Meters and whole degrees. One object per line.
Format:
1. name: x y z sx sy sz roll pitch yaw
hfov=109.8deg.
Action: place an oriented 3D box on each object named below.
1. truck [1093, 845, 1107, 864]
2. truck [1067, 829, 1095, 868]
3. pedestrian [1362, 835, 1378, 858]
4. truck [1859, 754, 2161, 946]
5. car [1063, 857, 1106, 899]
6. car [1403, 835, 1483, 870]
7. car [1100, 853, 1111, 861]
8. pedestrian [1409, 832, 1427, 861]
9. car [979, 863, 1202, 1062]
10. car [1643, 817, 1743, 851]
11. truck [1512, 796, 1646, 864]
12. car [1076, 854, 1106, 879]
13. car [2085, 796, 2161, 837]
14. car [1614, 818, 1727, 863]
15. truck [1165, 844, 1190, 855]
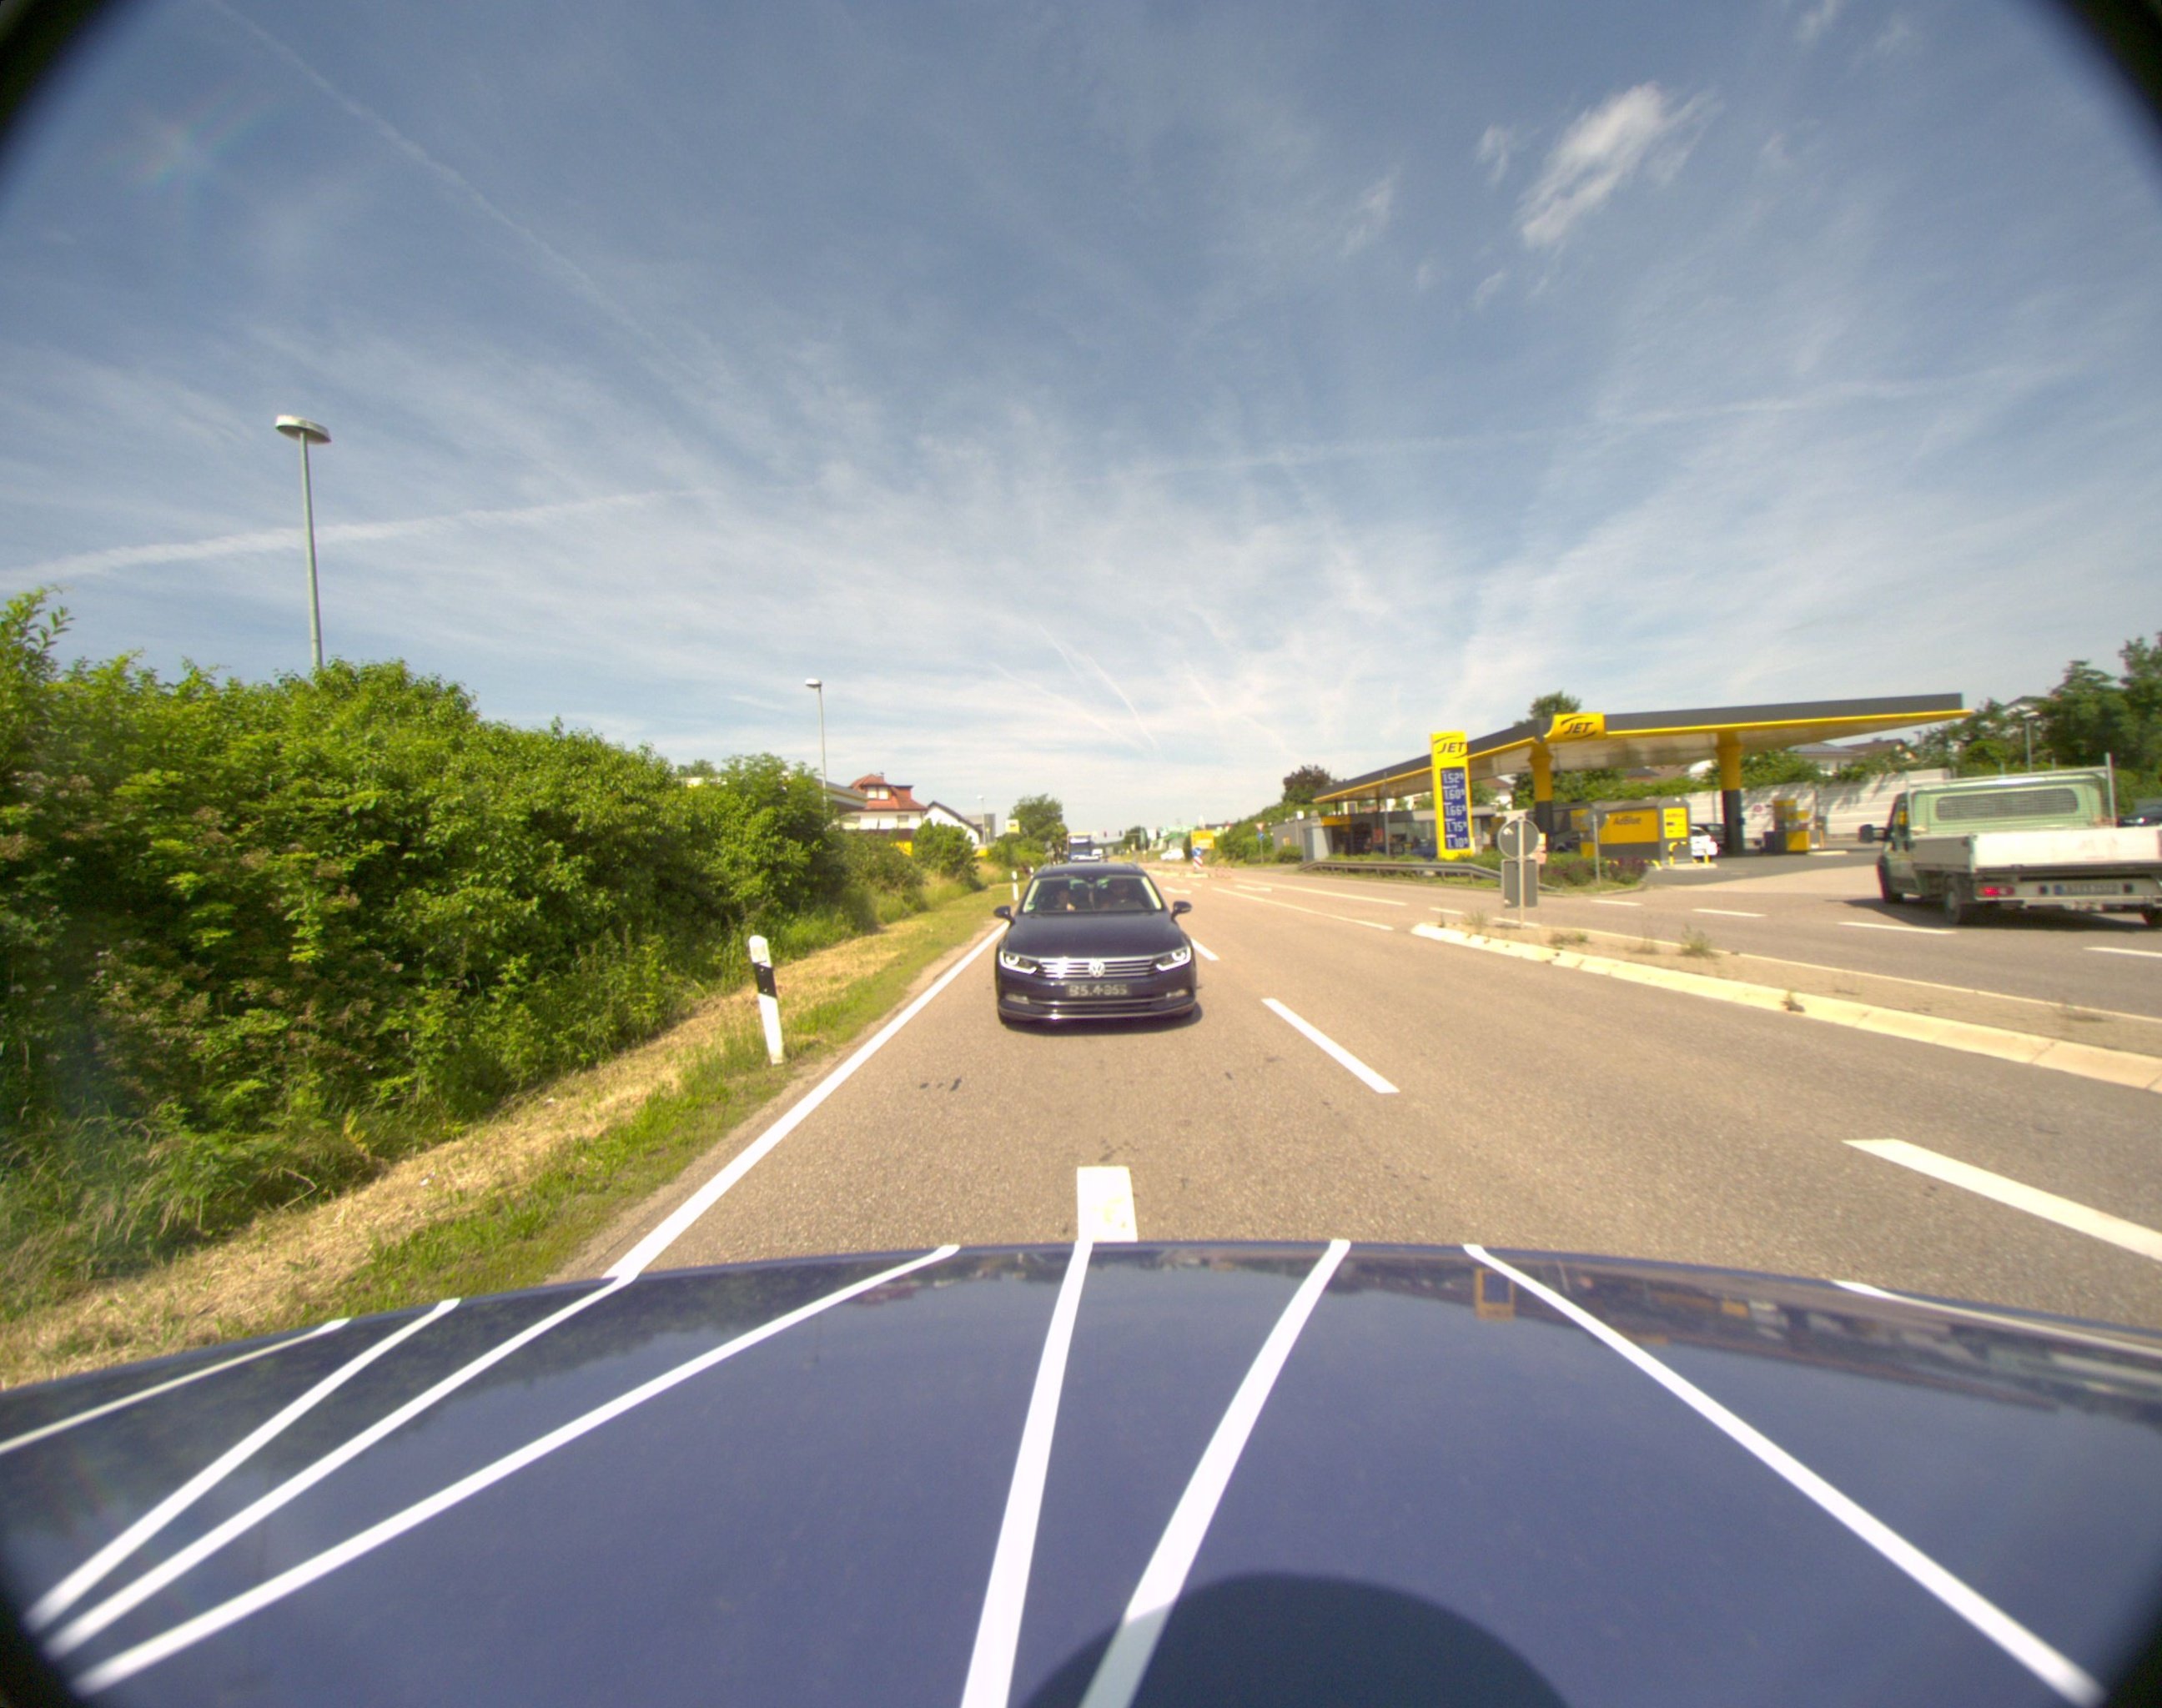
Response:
1. truck: 4.140 0.040 170.475 2.855 3.999 12.916 -2 0 1
2. truck: 0.101 -0.609 87.192 2.855 3.999 12.916 -2 0 1
3. pedestrian: 18.730 -0.478 49.272 0.914 1.419 0.494 -2 1 13
4. truck: 14.845 -0.140 12.212 2.243 2.361 6.362 -2 1 37
5. car: 0.195 0.885 29.734 1.471 1.451 3.798 -2 0 3
6. car: 19.016 -0.051 40.181 1.999 1.696 4.263 -2 0 -3
7. car: 4.262 0.550 129.557 1.786 1.210 4.000 -3 0 2
8. pedestrian: 21.407 -0.482 48.331 0.798 1.827 0.640 -3 0 1
9. car: 0.112 0.910 8.615 1.756 1.493 4.925 -2 0 1
10. car: 32.171 -1.030 40.101 1.753 1.603 3.873 -2 0 -10
11. truck: 23.828 -1.115 36.796 2.250 2.906 6.282 -2 1 -1
12. car: 0.653 0.807 49.266 1.814 1.466 3.974 -2 0 1
13. car: 45.253 -1.590 31.784 3.872 1.603 1.754 -2 0 6
14. car: 24.221 -0.515 31.403 1.736 1.717 4.001 -1 0 3
15. truck: 19.363 -0.835 152.273 4.771 1.997 2.000 -3 0 0
